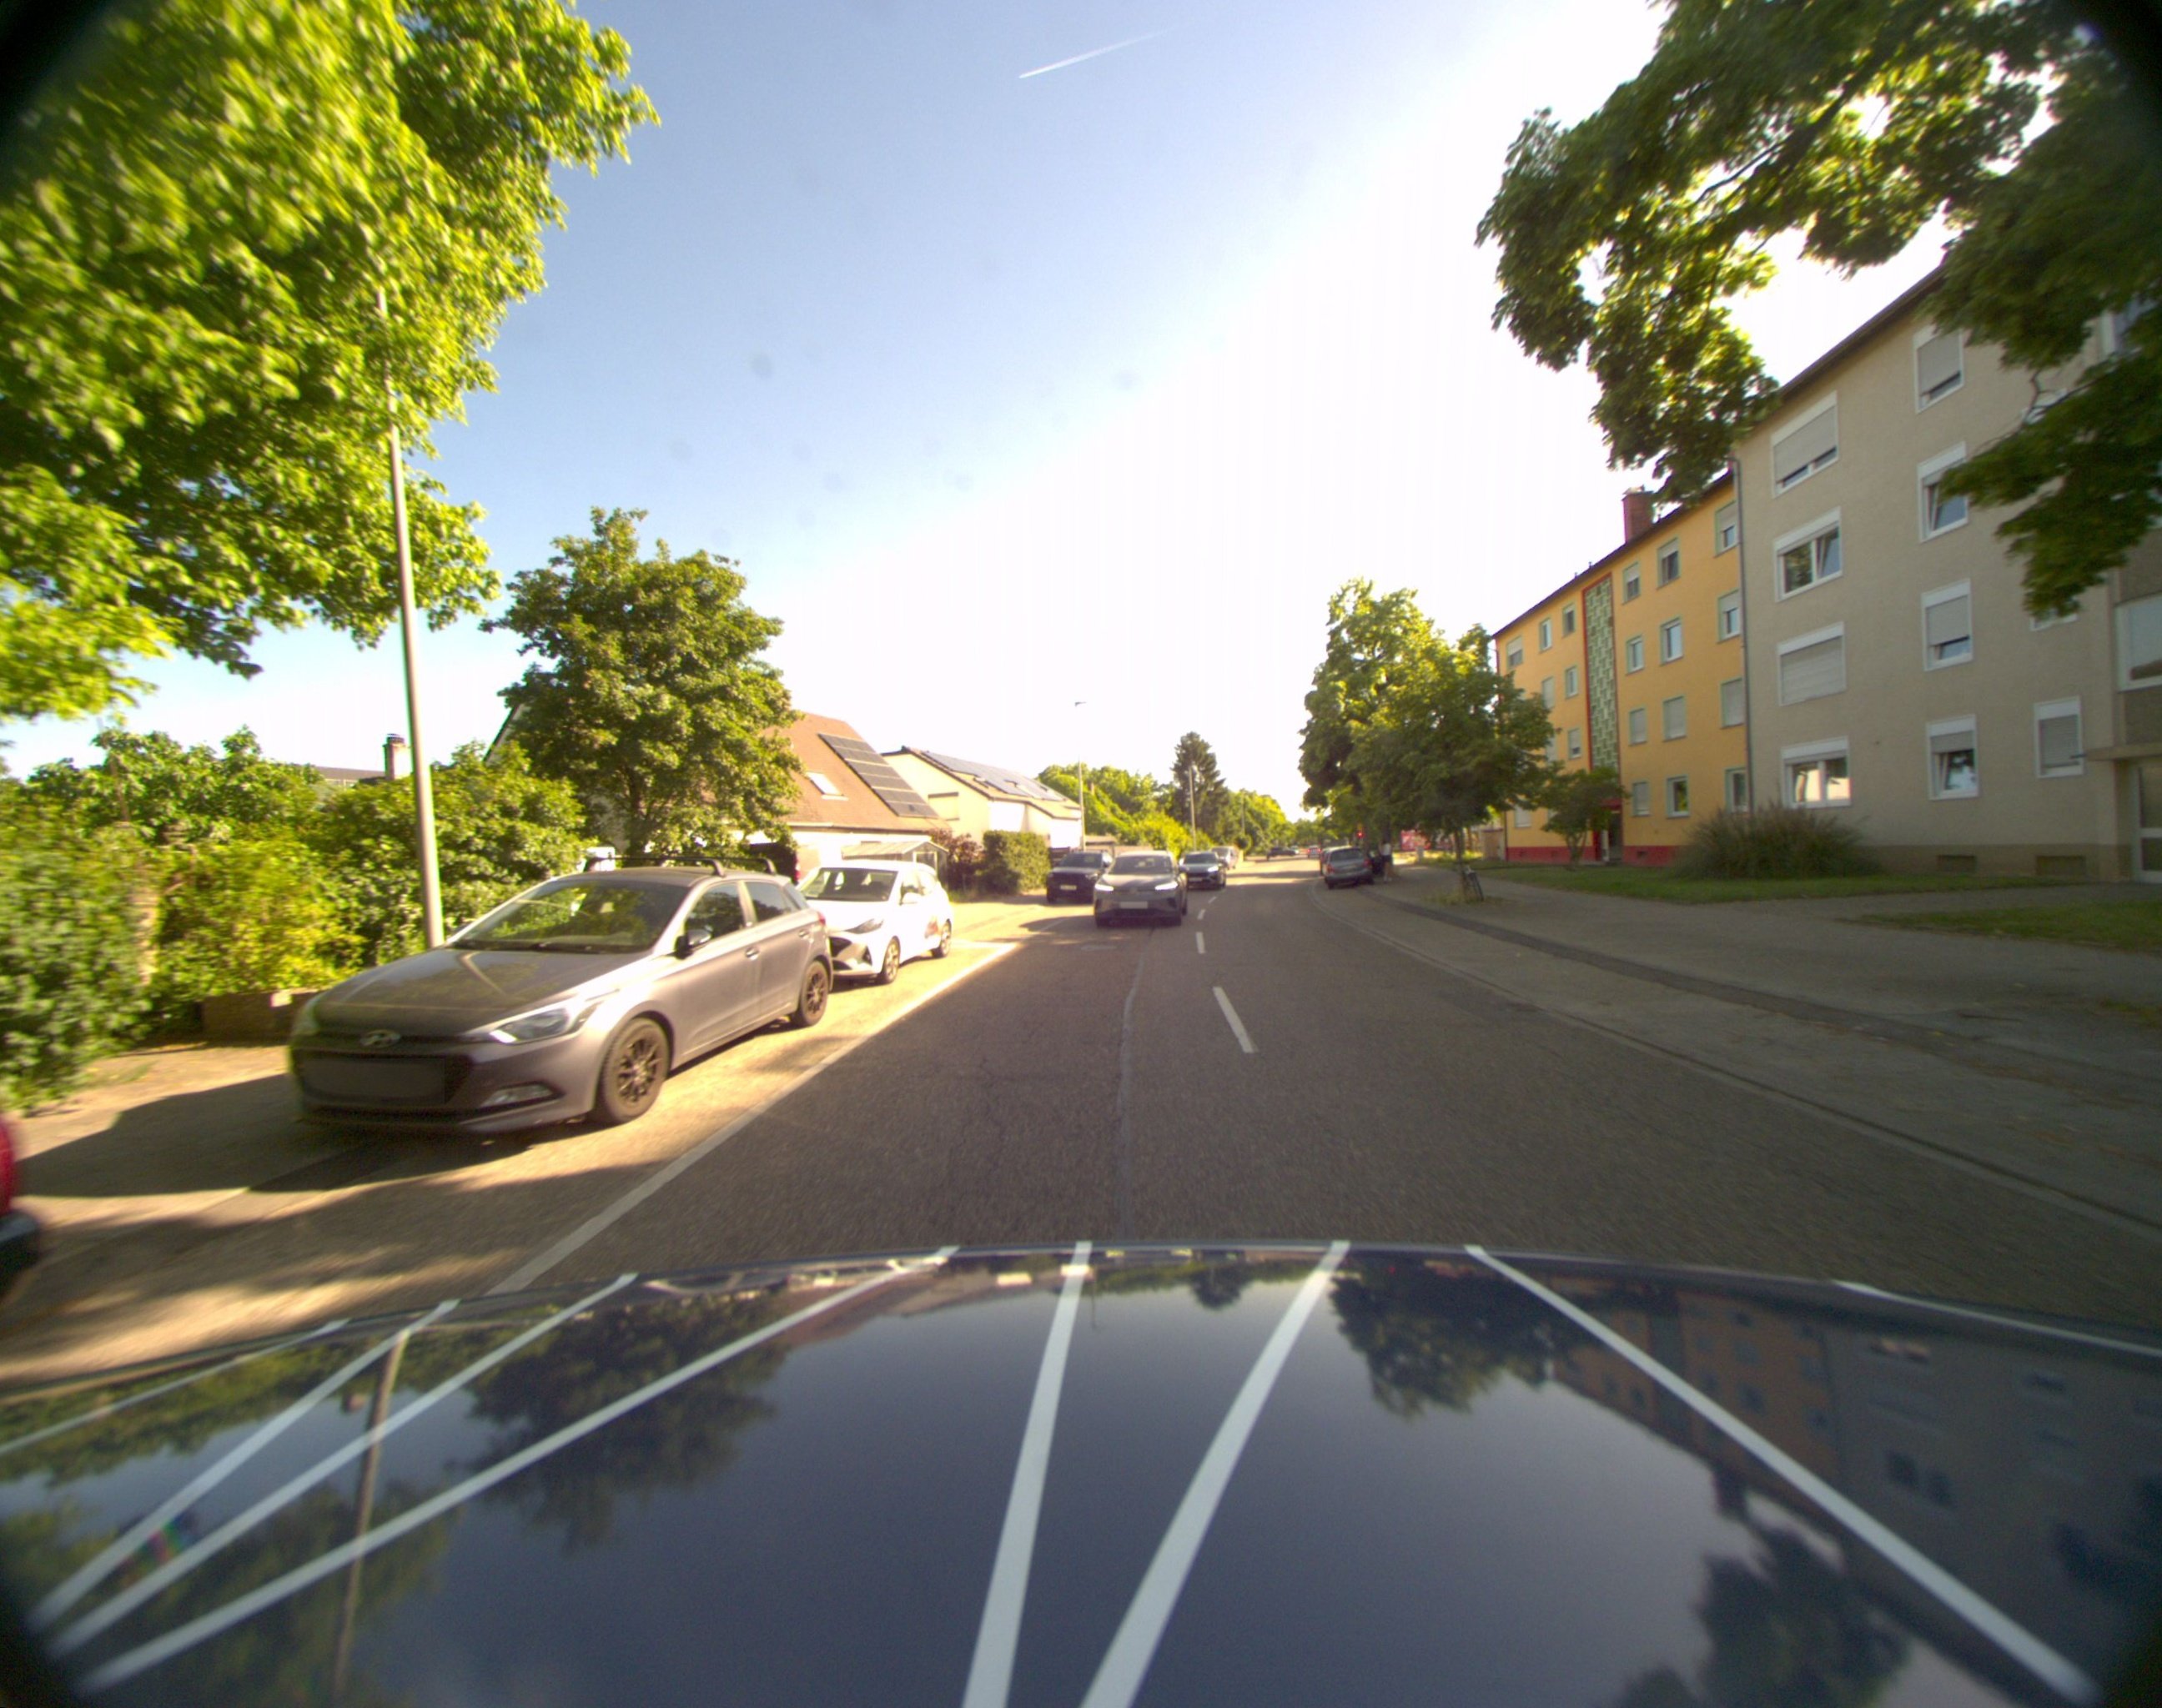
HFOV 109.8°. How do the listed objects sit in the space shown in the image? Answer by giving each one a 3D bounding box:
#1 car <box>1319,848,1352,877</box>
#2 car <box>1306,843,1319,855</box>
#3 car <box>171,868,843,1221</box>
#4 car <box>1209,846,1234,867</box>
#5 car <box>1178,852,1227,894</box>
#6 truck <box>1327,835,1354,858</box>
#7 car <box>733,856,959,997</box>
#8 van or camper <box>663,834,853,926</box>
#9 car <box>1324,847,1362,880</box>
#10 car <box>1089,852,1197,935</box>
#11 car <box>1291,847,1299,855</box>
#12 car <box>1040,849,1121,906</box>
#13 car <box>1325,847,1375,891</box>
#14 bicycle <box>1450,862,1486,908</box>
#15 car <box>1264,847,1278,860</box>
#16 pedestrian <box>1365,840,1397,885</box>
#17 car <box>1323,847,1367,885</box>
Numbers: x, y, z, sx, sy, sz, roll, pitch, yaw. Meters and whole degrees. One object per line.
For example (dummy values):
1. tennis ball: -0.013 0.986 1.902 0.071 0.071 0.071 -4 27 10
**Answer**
1. car: 14.568 0.445 43.472 1.650 1.530 3.708 -3 0 19
2. car: 31.890 -0.705 104.613 1.545 1.456 3.708 -3 0 15
3. car: -3.378 0.939 5.613 1.723 1.565 4.001 0 0 4
4. car: 11.332 0.148 61.029 1.638 1.568 3.708 -3 0 15
5. car: 5.081 0.727 31.492 1.579 1.568 3.708 -3 0 15
6. truck: 28.792 -0.863 84.242 2.409 2.353 4.532 -3 0 22
7. car: -2.989 0.833 10.504 1.636 1.565 3.705 0 0 6
8. van or camper: -7.832 0.631 18.514 3.845 2.002 1.953 -3 1 20
9. car: 13.229 0.447 38.418 1.650 1.530 3.708 -3 0 19
10. car: 1.541 0.810 17.400 1.775 1.624 3.708 -3 0 15
11. car: 44.402 -0.663 157.691 1.545 1.456 3.708 -3 0 15
12. car: 0.066 0.720 25.244 1.775 1.727 3.708 0 0 15
13. car: 10.332 0.527 29.293 1.650 1.530 3.708 -3 0 19
14. bicycle: 9.062 0.708 17.813 0.358 1.001 1.201 -4 -1 11
15. car: 24.120 -0.123 96.417 1.638 1.568 3.708 -3 0 15
16. pedestrian: 11.198 0.328 28.365 0.959 1.619 0.734 -2 1 31
17. car: 11.711 0.497 33.775 1.650 1.530 3.708 -3 0 19
